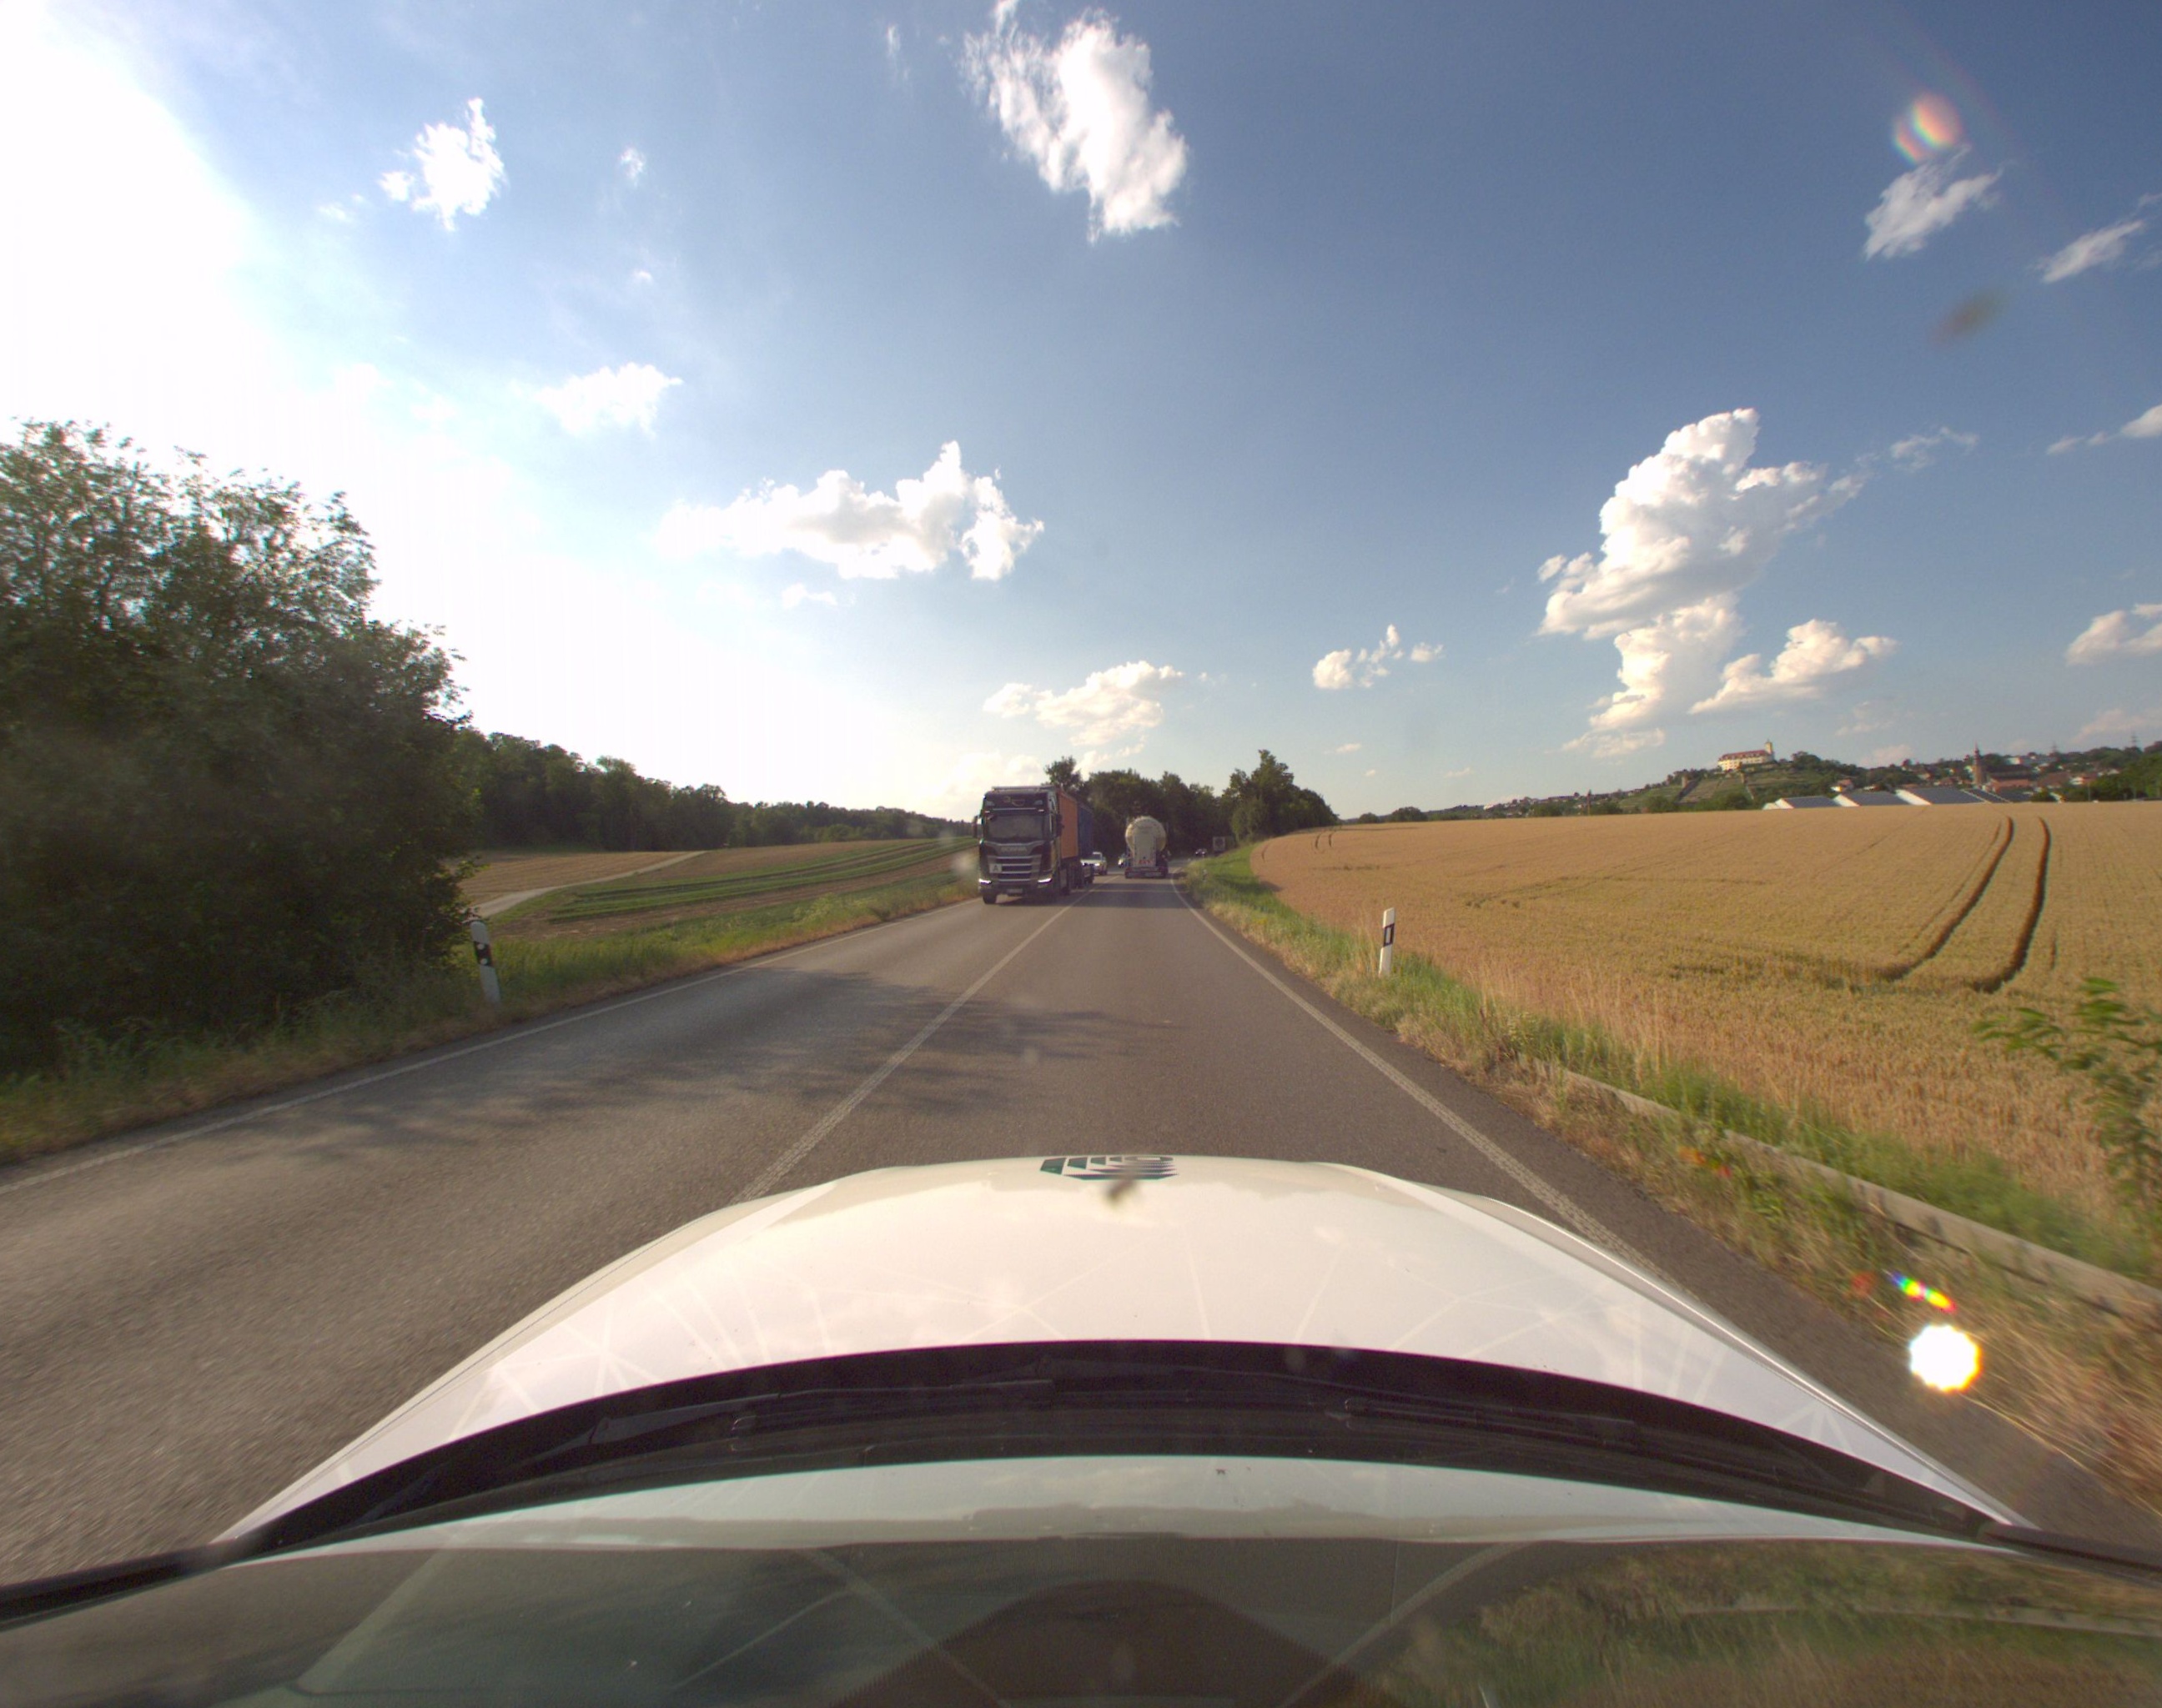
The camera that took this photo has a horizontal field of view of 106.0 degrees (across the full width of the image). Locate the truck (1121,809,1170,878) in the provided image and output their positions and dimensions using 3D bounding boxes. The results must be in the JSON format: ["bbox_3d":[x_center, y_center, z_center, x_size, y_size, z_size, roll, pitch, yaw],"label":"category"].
[{"bbox_3d":[4.511,-0.599,56.200,2.879,4.143,13.190,-1,0,5],"label":"truck"}]

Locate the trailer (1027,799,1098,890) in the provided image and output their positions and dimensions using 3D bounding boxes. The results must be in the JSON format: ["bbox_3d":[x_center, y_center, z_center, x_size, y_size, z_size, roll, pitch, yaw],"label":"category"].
[{"bbox_3d":[-0.747,-0.457,40.351,2.353,3.920,8.974,-2,0,5],"label":"trailer"}]

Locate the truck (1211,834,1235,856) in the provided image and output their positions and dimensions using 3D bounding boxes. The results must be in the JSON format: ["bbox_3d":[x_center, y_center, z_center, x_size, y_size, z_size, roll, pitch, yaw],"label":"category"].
[{"bbox_3d":[29.125,-1.784,166.493,3.159,4.227,13.230,-2,0,17],"label":"truck"}]

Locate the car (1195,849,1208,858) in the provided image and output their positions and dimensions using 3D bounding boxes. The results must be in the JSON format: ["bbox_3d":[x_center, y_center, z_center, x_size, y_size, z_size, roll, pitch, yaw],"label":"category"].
[{"bbox_3d":[24.616,-0.104,166.014,1.960,1.651,4.756,-2,0,16],"label":"car"}]

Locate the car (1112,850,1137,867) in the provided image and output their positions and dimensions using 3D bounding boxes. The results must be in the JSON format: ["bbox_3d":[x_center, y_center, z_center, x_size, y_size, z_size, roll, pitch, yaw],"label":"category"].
[{"bbox_3d":[4.553,0.461,84.761,1.963,1.651,4.374,-2,0,10],"label":"car"}]

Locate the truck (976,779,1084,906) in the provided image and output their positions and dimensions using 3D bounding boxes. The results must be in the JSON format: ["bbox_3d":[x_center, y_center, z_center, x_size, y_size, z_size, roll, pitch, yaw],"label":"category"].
[{"bbox_3d":[-1.609,-0.402,30.766,2.377,3.920,10.175,-2,0,5],"label":"truck"}]

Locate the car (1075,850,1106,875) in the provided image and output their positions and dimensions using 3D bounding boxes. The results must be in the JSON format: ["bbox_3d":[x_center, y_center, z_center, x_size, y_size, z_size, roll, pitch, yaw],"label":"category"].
[{"bbox_3d":[0.717,0.599,59.241,1.966,1.651,4.367,-2,0,4],"label":"car"}]

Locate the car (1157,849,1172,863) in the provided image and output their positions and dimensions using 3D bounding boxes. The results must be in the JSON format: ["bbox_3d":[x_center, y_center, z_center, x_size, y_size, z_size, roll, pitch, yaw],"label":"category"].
[{"bbox_3d":[12.557,0.287,121.990,1.889,1.771,4.506,-2,1,10],"label":"car"}]
